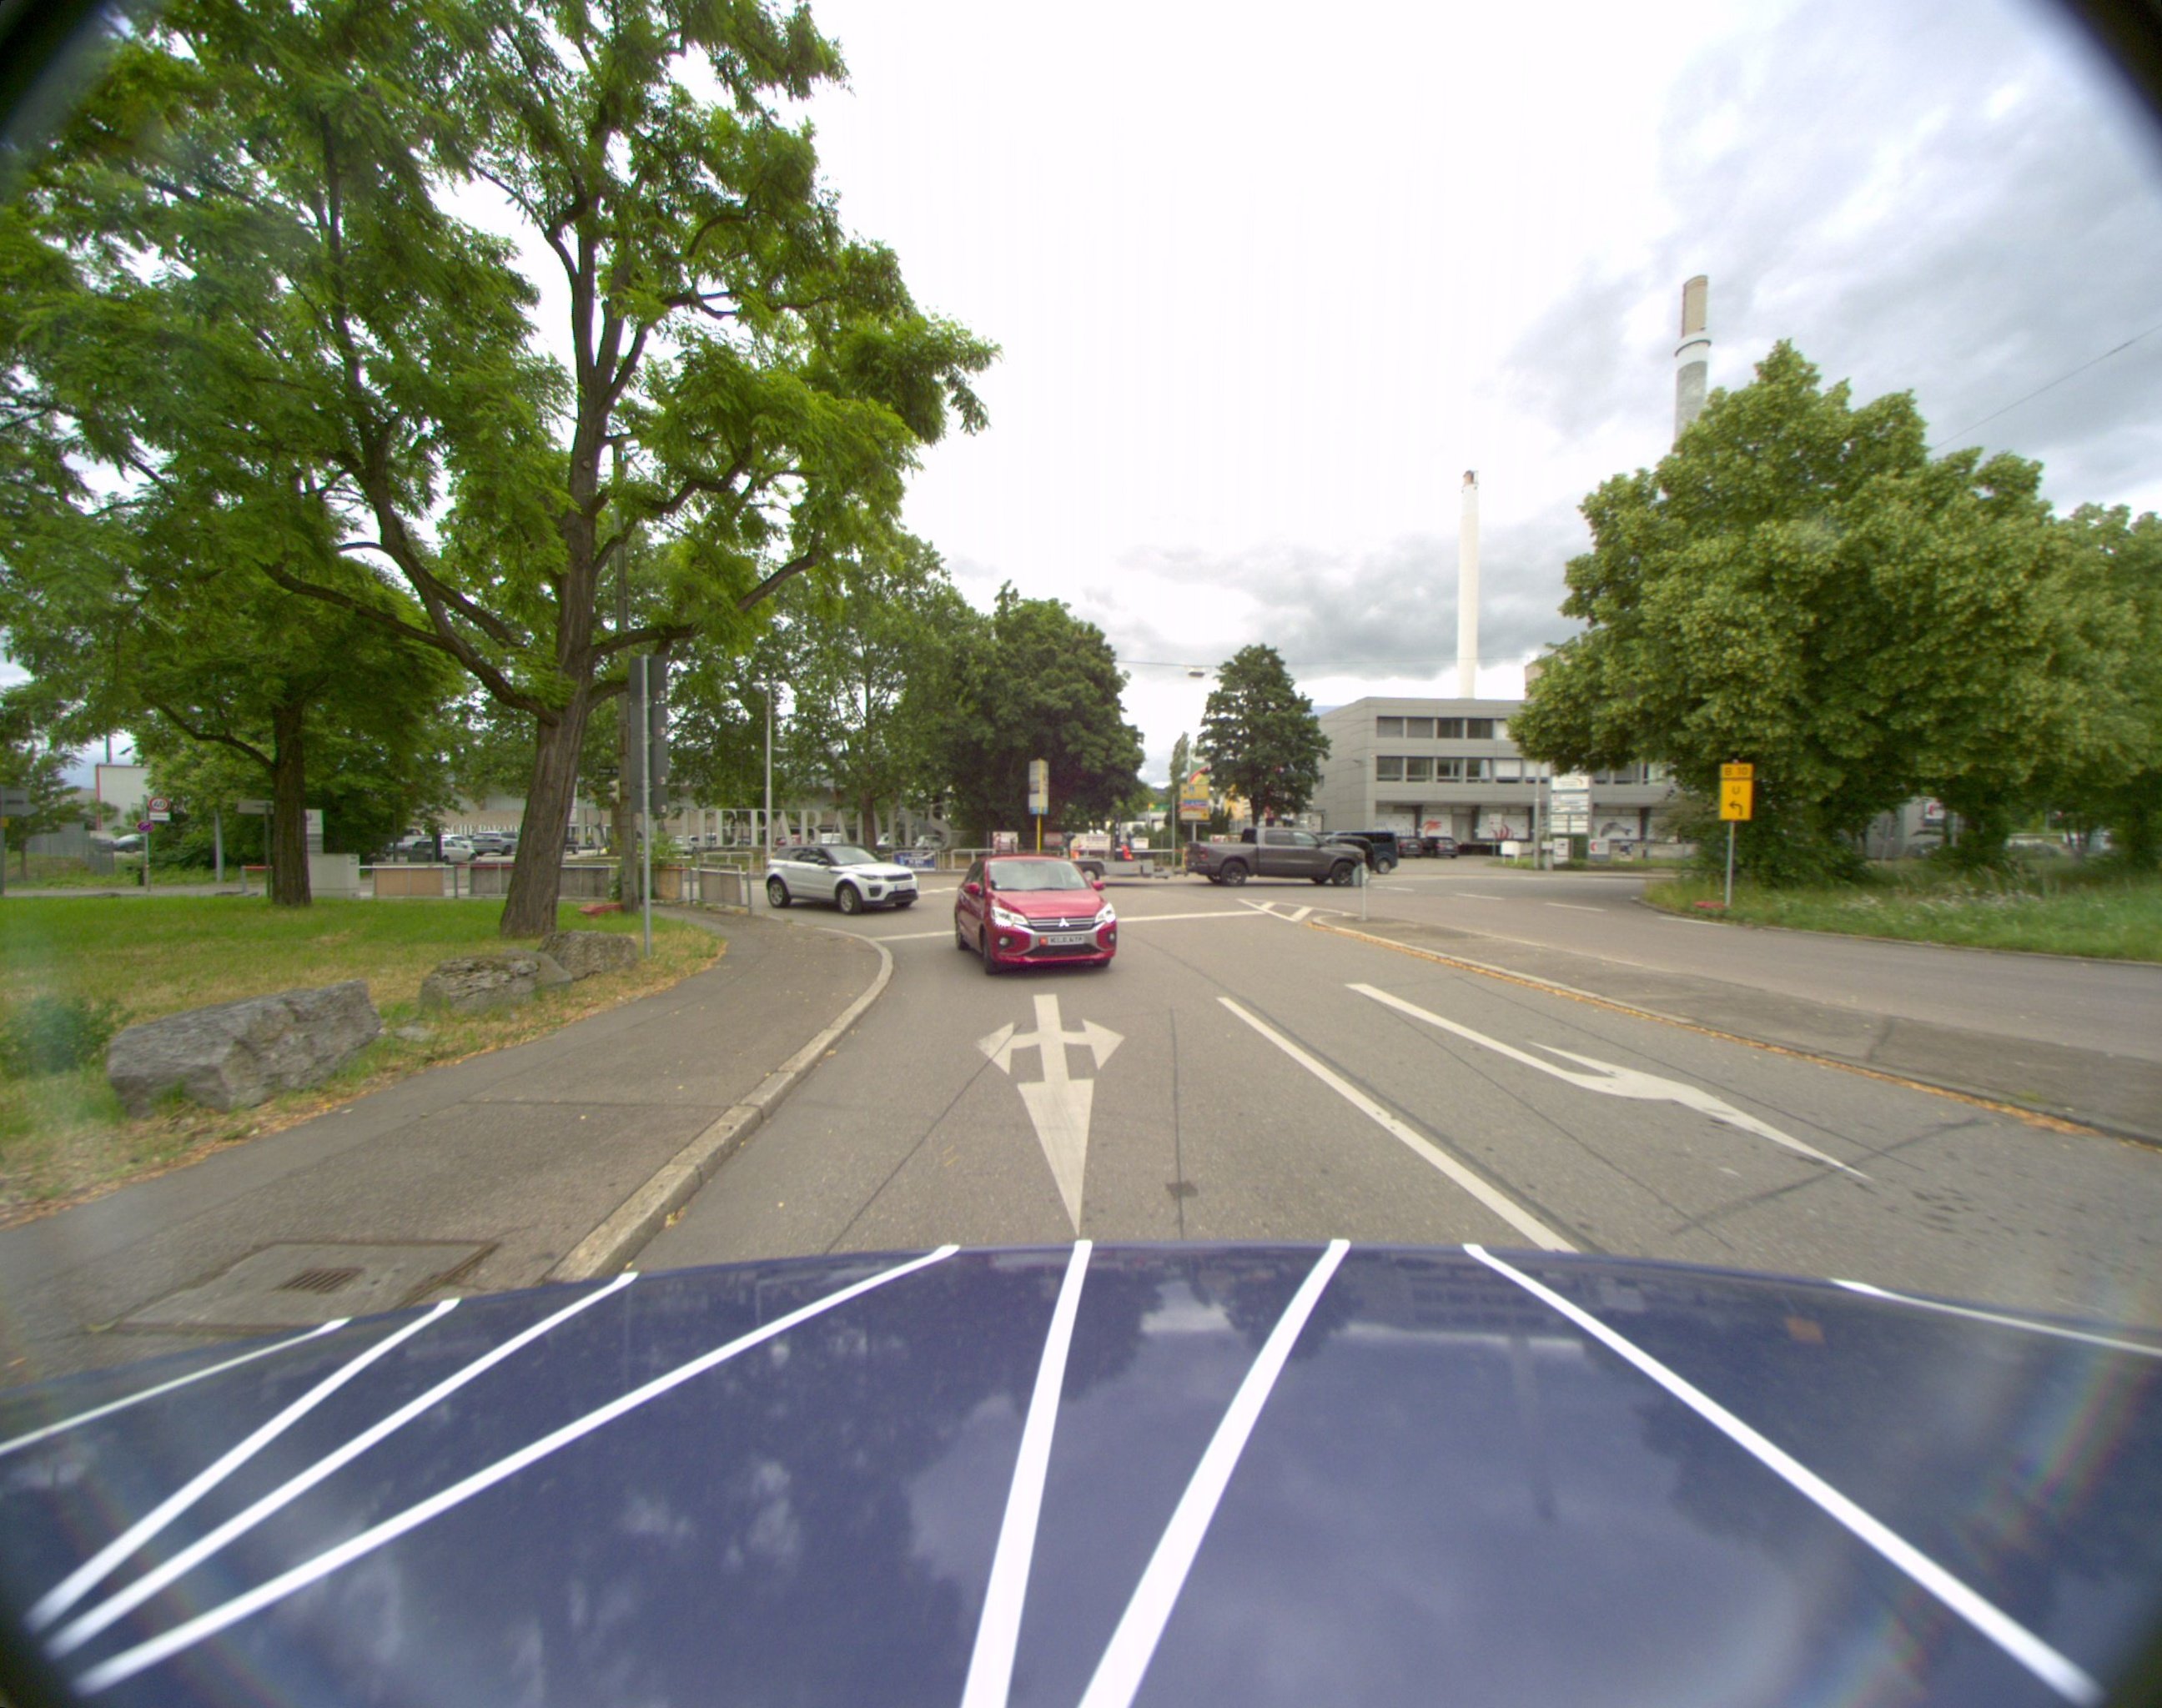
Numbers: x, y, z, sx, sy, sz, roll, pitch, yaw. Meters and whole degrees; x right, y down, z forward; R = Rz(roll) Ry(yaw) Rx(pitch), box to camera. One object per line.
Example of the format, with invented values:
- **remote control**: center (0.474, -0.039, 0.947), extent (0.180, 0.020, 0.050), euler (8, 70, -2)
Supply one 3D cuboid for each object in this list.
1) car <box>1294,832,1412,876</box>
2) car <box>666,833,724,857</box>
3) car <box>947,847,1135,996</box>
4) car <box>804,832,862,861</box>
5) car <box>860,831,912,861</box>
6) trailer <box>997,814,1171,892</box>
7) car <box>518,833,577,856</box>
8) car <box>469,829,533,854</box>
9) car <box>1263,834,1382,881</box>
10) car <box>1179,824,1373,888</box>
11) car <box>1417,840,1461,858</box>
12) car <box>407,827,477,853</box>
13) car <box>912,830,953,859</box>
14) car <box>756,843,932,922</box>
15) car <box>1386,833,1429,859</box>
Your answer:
- **car**: center (12.330, -0.027, 34.576), extent (4.804, 1.934, 1.831), euler (0, 1, -12)
- **car**: center (-28.104, -0.689, 55.519), extent (1.938, 1.423, 5.246), euler (-3, 3, -5)
- **car**: center (-0.741, 0.748, 10.544), extent (1.769, 1.522, 3.733), euler (-2, 3, -16)
- **car**: center (-14.811, -0.517, 45.719), extent (1.999, 1.449, 4.696), euler (-3, 3, -2)
- **car**: center (-11.665, -0.527, 45.705), extent (1.999, 1.449, 4.696), euler (-3, 3, -2)
- **trailer**: center (0.024, -0.045, 24.468), extent (5.387, 2.374, 2.149), euler (0, 1, -6)
- **car**: center (-37.326, -0.683, 53.296), extent (1.917, 1.499, 3.995), euler (0, 1, -11)
- **car**: center (-40.492, -0.860, 53.159), extent (1.917, 1.691, 3.995), euler (0, 1, -11)
- **car**: center (9.562, 0.104, 30.086), extent (4.234, 1.762, 1.829), euler (0, 1, -20)
- **car**: center (6.365, 0.039, 25.120), extent (5.870, 1.969, 1.948), euler (0, 3, -6)
- **car**: center (27.383, -0.413, 58.251), extent (1.776, 1.172, 3.570), euler (-3, 3, 1)
- **car**: center (-43.540, -0.945, 51.880), extent (1.917, 1.691, 3.995), euler (0, 1, -11)
- **car**: center (-9.004, -0.628, 46.437), extent (1.999, 1.449, 4.695), euler (-3, 3, -6)
- **car**: center (-5.898, 0.612, 18.810), extent (4.101, 1.561, 1.920), euler (2, 5, 33)
- **car**: center (24.880, -0.635, 57.971), extent (1.776, 1.670, 3.570), euler (-3, 3, 1)
